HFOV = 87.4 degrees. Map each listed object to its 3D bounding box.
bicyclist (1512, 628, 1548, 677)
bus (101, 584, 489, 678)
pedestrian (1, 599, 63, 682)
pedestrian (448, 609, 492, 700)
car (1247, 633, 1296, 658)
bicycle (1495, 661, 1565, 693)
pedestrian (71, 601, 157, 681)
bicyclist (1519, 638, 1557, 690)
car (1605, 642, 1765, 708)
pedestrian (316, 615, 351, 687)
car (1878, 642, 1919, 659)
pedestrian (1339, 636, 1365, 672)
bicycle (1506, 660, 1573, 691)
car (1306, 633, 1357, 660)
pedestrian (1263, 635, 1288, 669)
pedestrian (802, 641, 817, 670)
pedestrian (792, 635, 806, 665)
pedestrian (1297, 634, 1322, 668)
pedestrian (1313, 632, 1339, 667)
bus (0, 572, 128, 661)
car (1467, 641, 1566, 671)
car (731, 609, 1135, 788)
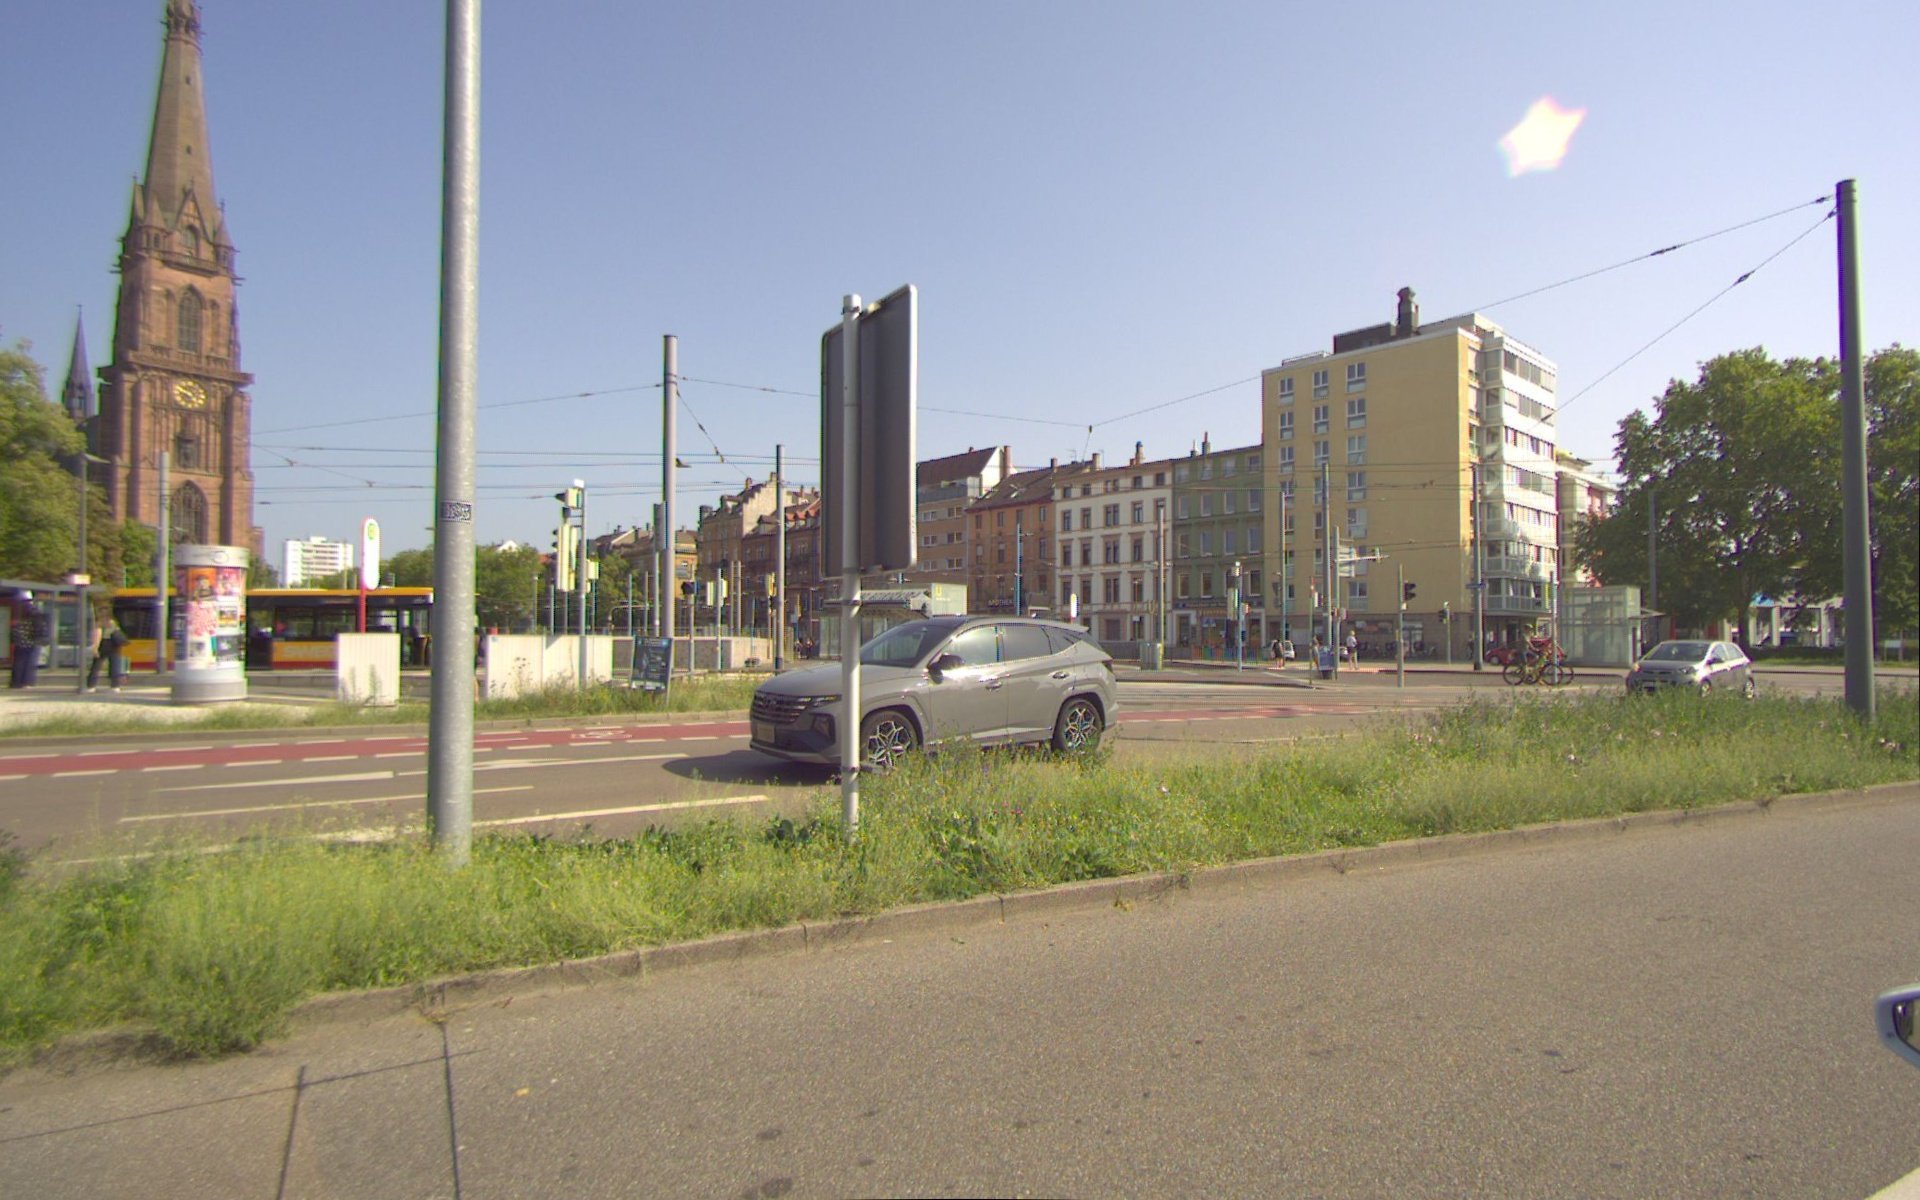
[{"bbox_3d":[18.312,1.688,32.273,0.719,1.547,0.788,1,-2,-37],"label":"bicyclist"},{"bbox_3d":[-23.275,1.099,35.500,11.971,3.149,2.718,0,-2,2],"label":"bus"},{"bbox_3d":[-20.004,0.873,21.674,0.858,1.727,0.979,2,-2,-39],"label":"pedestrian"},{"bbox_3d":[-10.084,1.113,20.675,0.693,1.824,0.773,2,-2,-33],"label":"pedestrian"},{"bbox_3d":[22.010,3.197,71.104,1.961,1.700,4.550,1,-2,-1],"label":"car"},{"bbox_3d":[18.296,2.473,32.271,0.719,0.944,1.800,1,-2,-37],"label":"bicycle"},{"bbox_3d":[-17.095,0.831,20.322,0.970,1.579,0.867,0,-2,8],"label":"pedestrian"},{"bbox_3d":[19.137,2.114,33.237,0.719,1.673,0.875,1,-2,-37],"label":"bicyclist"},{"bbox_3d":[17.688,1.776,24.492,3.633,1.471,1.879,1,-2,-31],"label":"car"},{"bbox_3d":[-16.119,1.304,25.839,0.693,1.824,0.773,2,-2,-33],"label":"pedestrian"},{"bbox_3d":[87.323,4.624,92.114,4.423,1.542,1.706,0,-2,6],"label":"car"},{"bbox_3d":[19.306,2.648,49.479,0.916,1.712,0.913,2,-2,-43],"label":"pedestrian"},{"bbox_3d":[19.139,2.480,33.213,0.719,0.944,1.800,1,-2,-37],"label":"bicycle"},{"bbox_3d":[24.723,3.094,66.993,1.960,1.700,4.552,0,-2,3],"label":"car"},{"bbox_3d":[16.327,2.682,52.044,0.916,1.712,0.913,2,-2,-43],"label":"pedestrian"},{"bbox_3d":[-9.563,3.518,63.921,0.743,1.806,0.702,1,-2,-29],"label":"pedestrian"},{"bbox_3d":[-10.202,3.183,63.551,0.645,1.891,0.716,1,-2,-29],"label":"pedestrian"},{"bbox_3d":[17.940,2.602,51.574,0.916,1.712,0.913,2,-2,-43],"label":"pedestrian"},{"bbox_3d":[18.445,2.499,50.589,0.916,1.712,0.913,2,-2,-43],"label":"pedestrian"},{"bbox_3d":[-37.111,0.593,35.664,12.541,3.017,3.301,0,-2,2],"label":"bus"},{"bbox_3d":[29.836,2.989,53.918,4.348,1.555,1.822,-2,-3,41],"label":"car"},{"bbox_3d":[-0.156,0.988,11.275,4.422,1.638,1.681,2,-3,-38],"label":"car"}]
